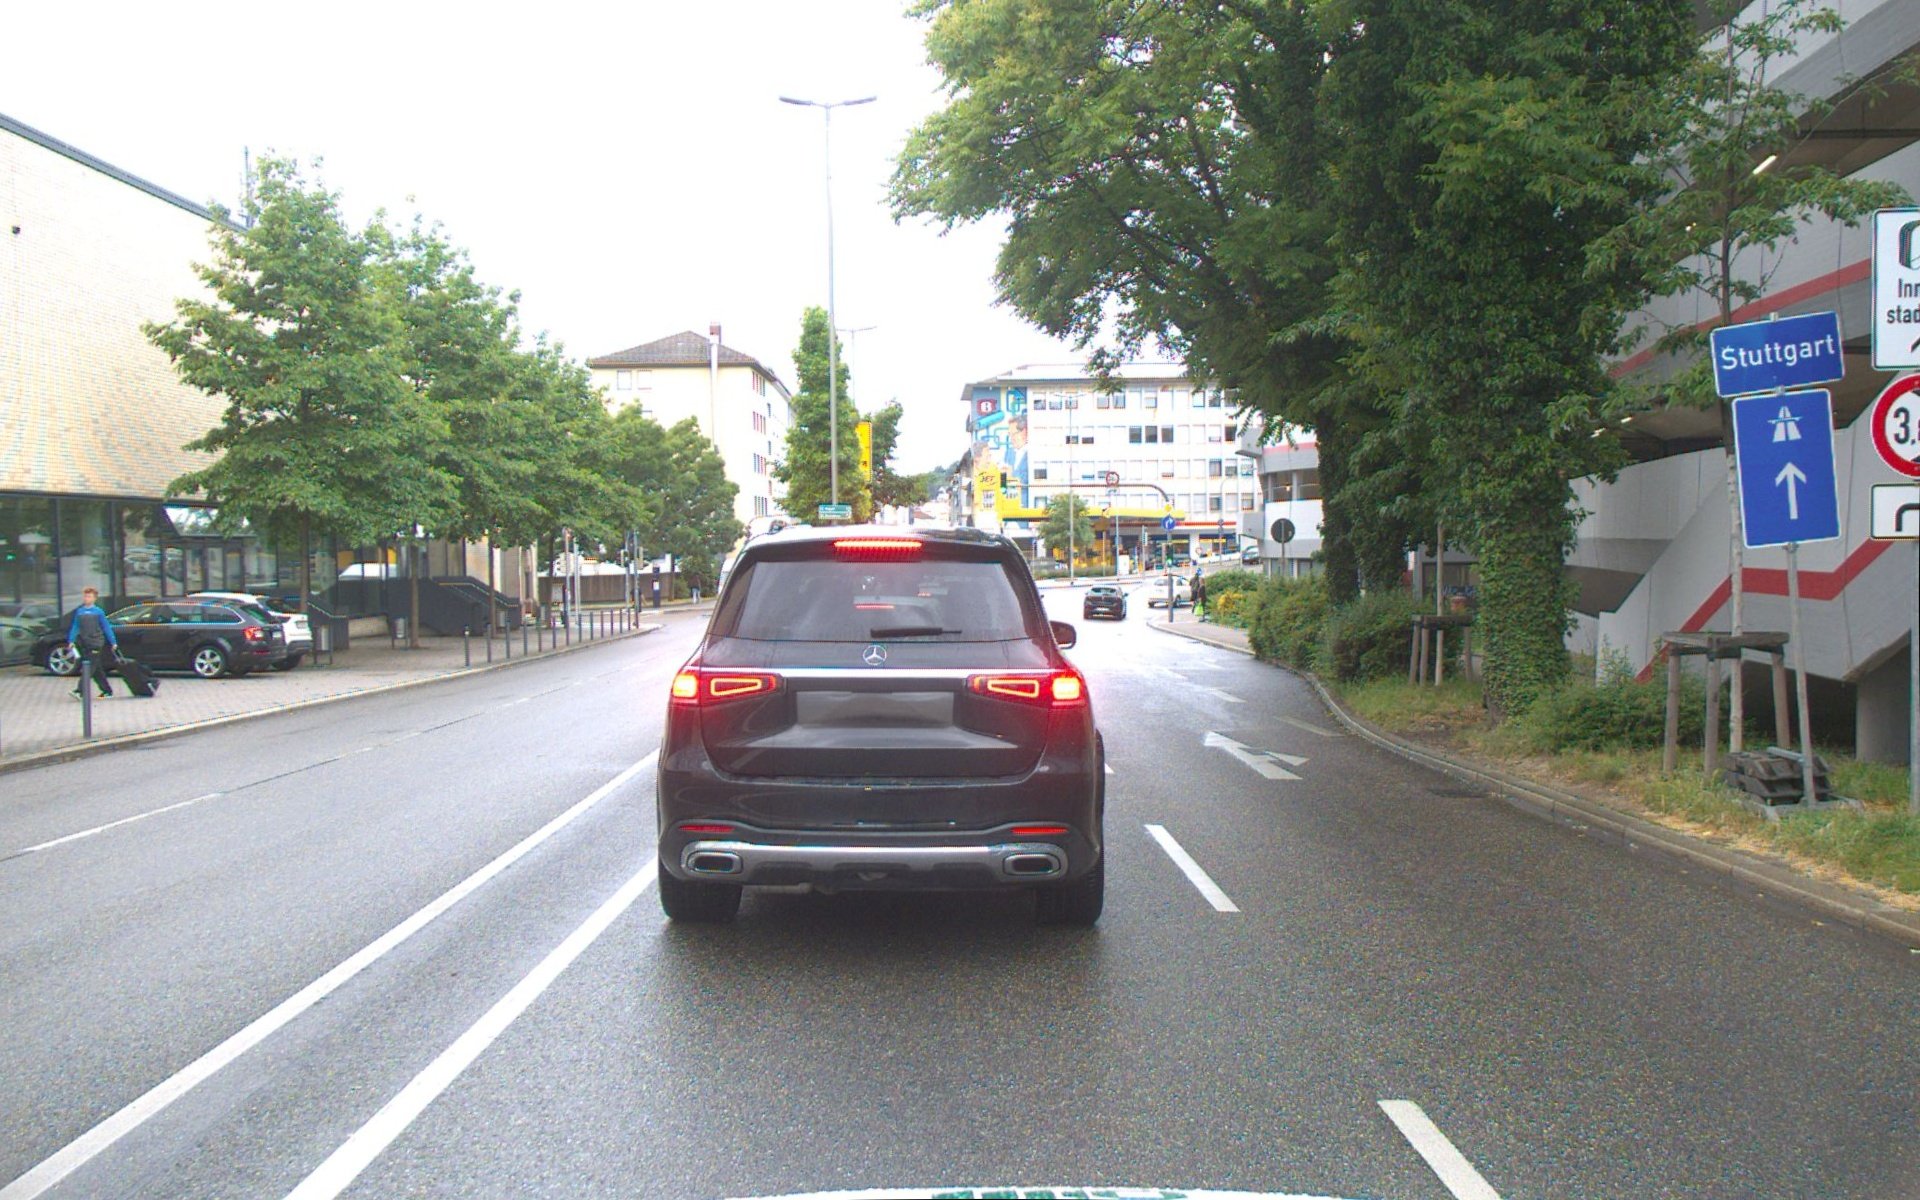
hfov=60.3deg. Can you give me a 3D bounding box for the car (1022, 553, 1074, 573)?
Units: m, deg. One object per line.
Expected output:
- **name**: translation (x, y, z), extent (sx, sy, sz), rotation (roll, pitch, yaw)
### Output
- **car**: translation (6.840, -2.879, 128.660), extent (1.724, 1.400, 3.935), rotation (-3, 1, -44)

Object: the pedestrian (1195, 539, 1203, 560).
- **pedestrian**: translation (19.790, -4.190, 136.985), extent (0.515, 1.757, 0.689), rotation (0, 1, 26)

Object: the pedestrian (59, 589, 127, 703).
- **pedestrian**: translation (-13.462, 0.707, 25.693), extent (0.621, 1.744, 0.705), rotation (1, -1, 2)

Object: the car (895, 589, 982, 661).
- **car**: translation (-0.501, 0.542, 37.841), extent (1.869, 1.527, 3.999), rotation (1, 0, -1)

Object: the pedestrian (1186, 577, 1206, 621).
- **pedestrian**: translation (9.374, -0.037, 65.605), extent (0.634, 1.740, 0.470), rotation (0, -1, 35)

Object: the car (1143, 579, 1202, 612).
- **car**: translation (10.836, -0.218, 84.231), extent (1.720, 1.576, 3.994), rotation (1, 0, 28)

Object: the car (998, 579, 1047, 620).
- **car**: translation (2.487, -0.048, 66.903), extent (1.759, 1.552, 4.055), rotation (1, 1, -1)

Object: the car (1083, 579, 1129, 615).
- **car**: translation (6.391, -0.118, 72.204), extent (1.904, 1.512, 4.002), rotation (1, 0, 6)

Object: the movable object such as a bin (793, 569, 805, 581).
- **movable object such as a bin**: translation (-13.688, -2.118, 140.832), extent (0.891, 1.056, 0.844), rotation (1, 0, 0)

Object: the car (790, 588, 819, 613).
- **car**: translation (-10.891, 0.031, 115.739), extent (1.868, 1.733, 3.997), rotation (1, 0, -4)

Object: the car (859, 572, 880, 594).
- **car**: translation (-8.106, -1.549, 148.759), extent (1.830, 1.871, 3.818), rotation (1, 0, -2)

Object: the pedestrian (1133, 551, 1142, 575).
- **pedestrian**: translation (12.945, -2.678, 120.569), extent (0.560, 1.727, 0.631), rotation (1, -1, 0)

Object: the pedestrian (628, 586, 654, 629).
- **pedestrian**: translation (-13.020, 0.291, 67.518), extent (0.931, 1.734, 0.709), rotation (1, -1, -18)

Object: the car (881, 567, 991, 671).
- **car**: translation (-0.452, 0.352, 31.807), extent (1.953, 1.832, 3.999), rotation (1, 0, -1)

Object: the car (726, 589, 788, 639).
- **car**: translation (-6.658, 0.436, 54.585), extent (1.706, 1.496, 3.880), rotation (-2, 0, -3)

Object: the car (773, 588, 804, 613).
- **car**: translation (-10.774, 0.018, 104.258), extent (1.761, 1.521, 3.801), rotation (1, 0, -3)

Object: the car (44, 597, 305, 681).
- **car**: translation (-15.142, 0.746, 32.091), extent (4.097, 1.521, 1.997), rotation (1, 0, -8)

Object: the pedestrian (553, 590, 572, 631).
- **pedestrian**: translation (-16.856, 0.436, 70.185), extent (0.630, 1.695, 1.017), rotation (1, 0, -7)

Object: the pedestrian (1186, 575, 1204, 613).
- **pedestrian**: translation (10.670, -0.256, 75.188), extent (0.703, 1.720, 0.455), rotation (1, -1, -7)

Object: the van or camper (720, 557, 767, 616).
- **van or camper**: translation (-10.385, -0.635, 79.643), extent (2.062, 2.627, 5.899), rotation (-2, 0, -7)

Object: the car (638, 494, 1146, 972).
- **car**: translation (-0.289, 0.529, 8.447), extent (1.953, 1.832, 3.999), rotation (1, 0, -1)

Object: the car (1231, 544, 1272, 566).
- **car**: translation (24.460, -3.784, 138.744), extent (1.958, 1.735, 3.990), rotation (-1, 1, 33)

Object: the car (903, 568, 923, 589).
- **car**: translation (-5.005, -2.285, 176.524), extent (1.953, 2.049, 4.000), rotation (1, 0, 0)

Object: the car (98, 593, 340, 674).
- **car**: translation (-15.343, 0.684, 34.391), extent (4.090, 1.574, 2.000), rotation (1, 0, 0)

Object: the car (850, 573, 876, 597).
- **car**: translation (-7.431, -1.136, 126.596), extent (1.868, 1.733, 3.997), rotation (1, 0, -4)
